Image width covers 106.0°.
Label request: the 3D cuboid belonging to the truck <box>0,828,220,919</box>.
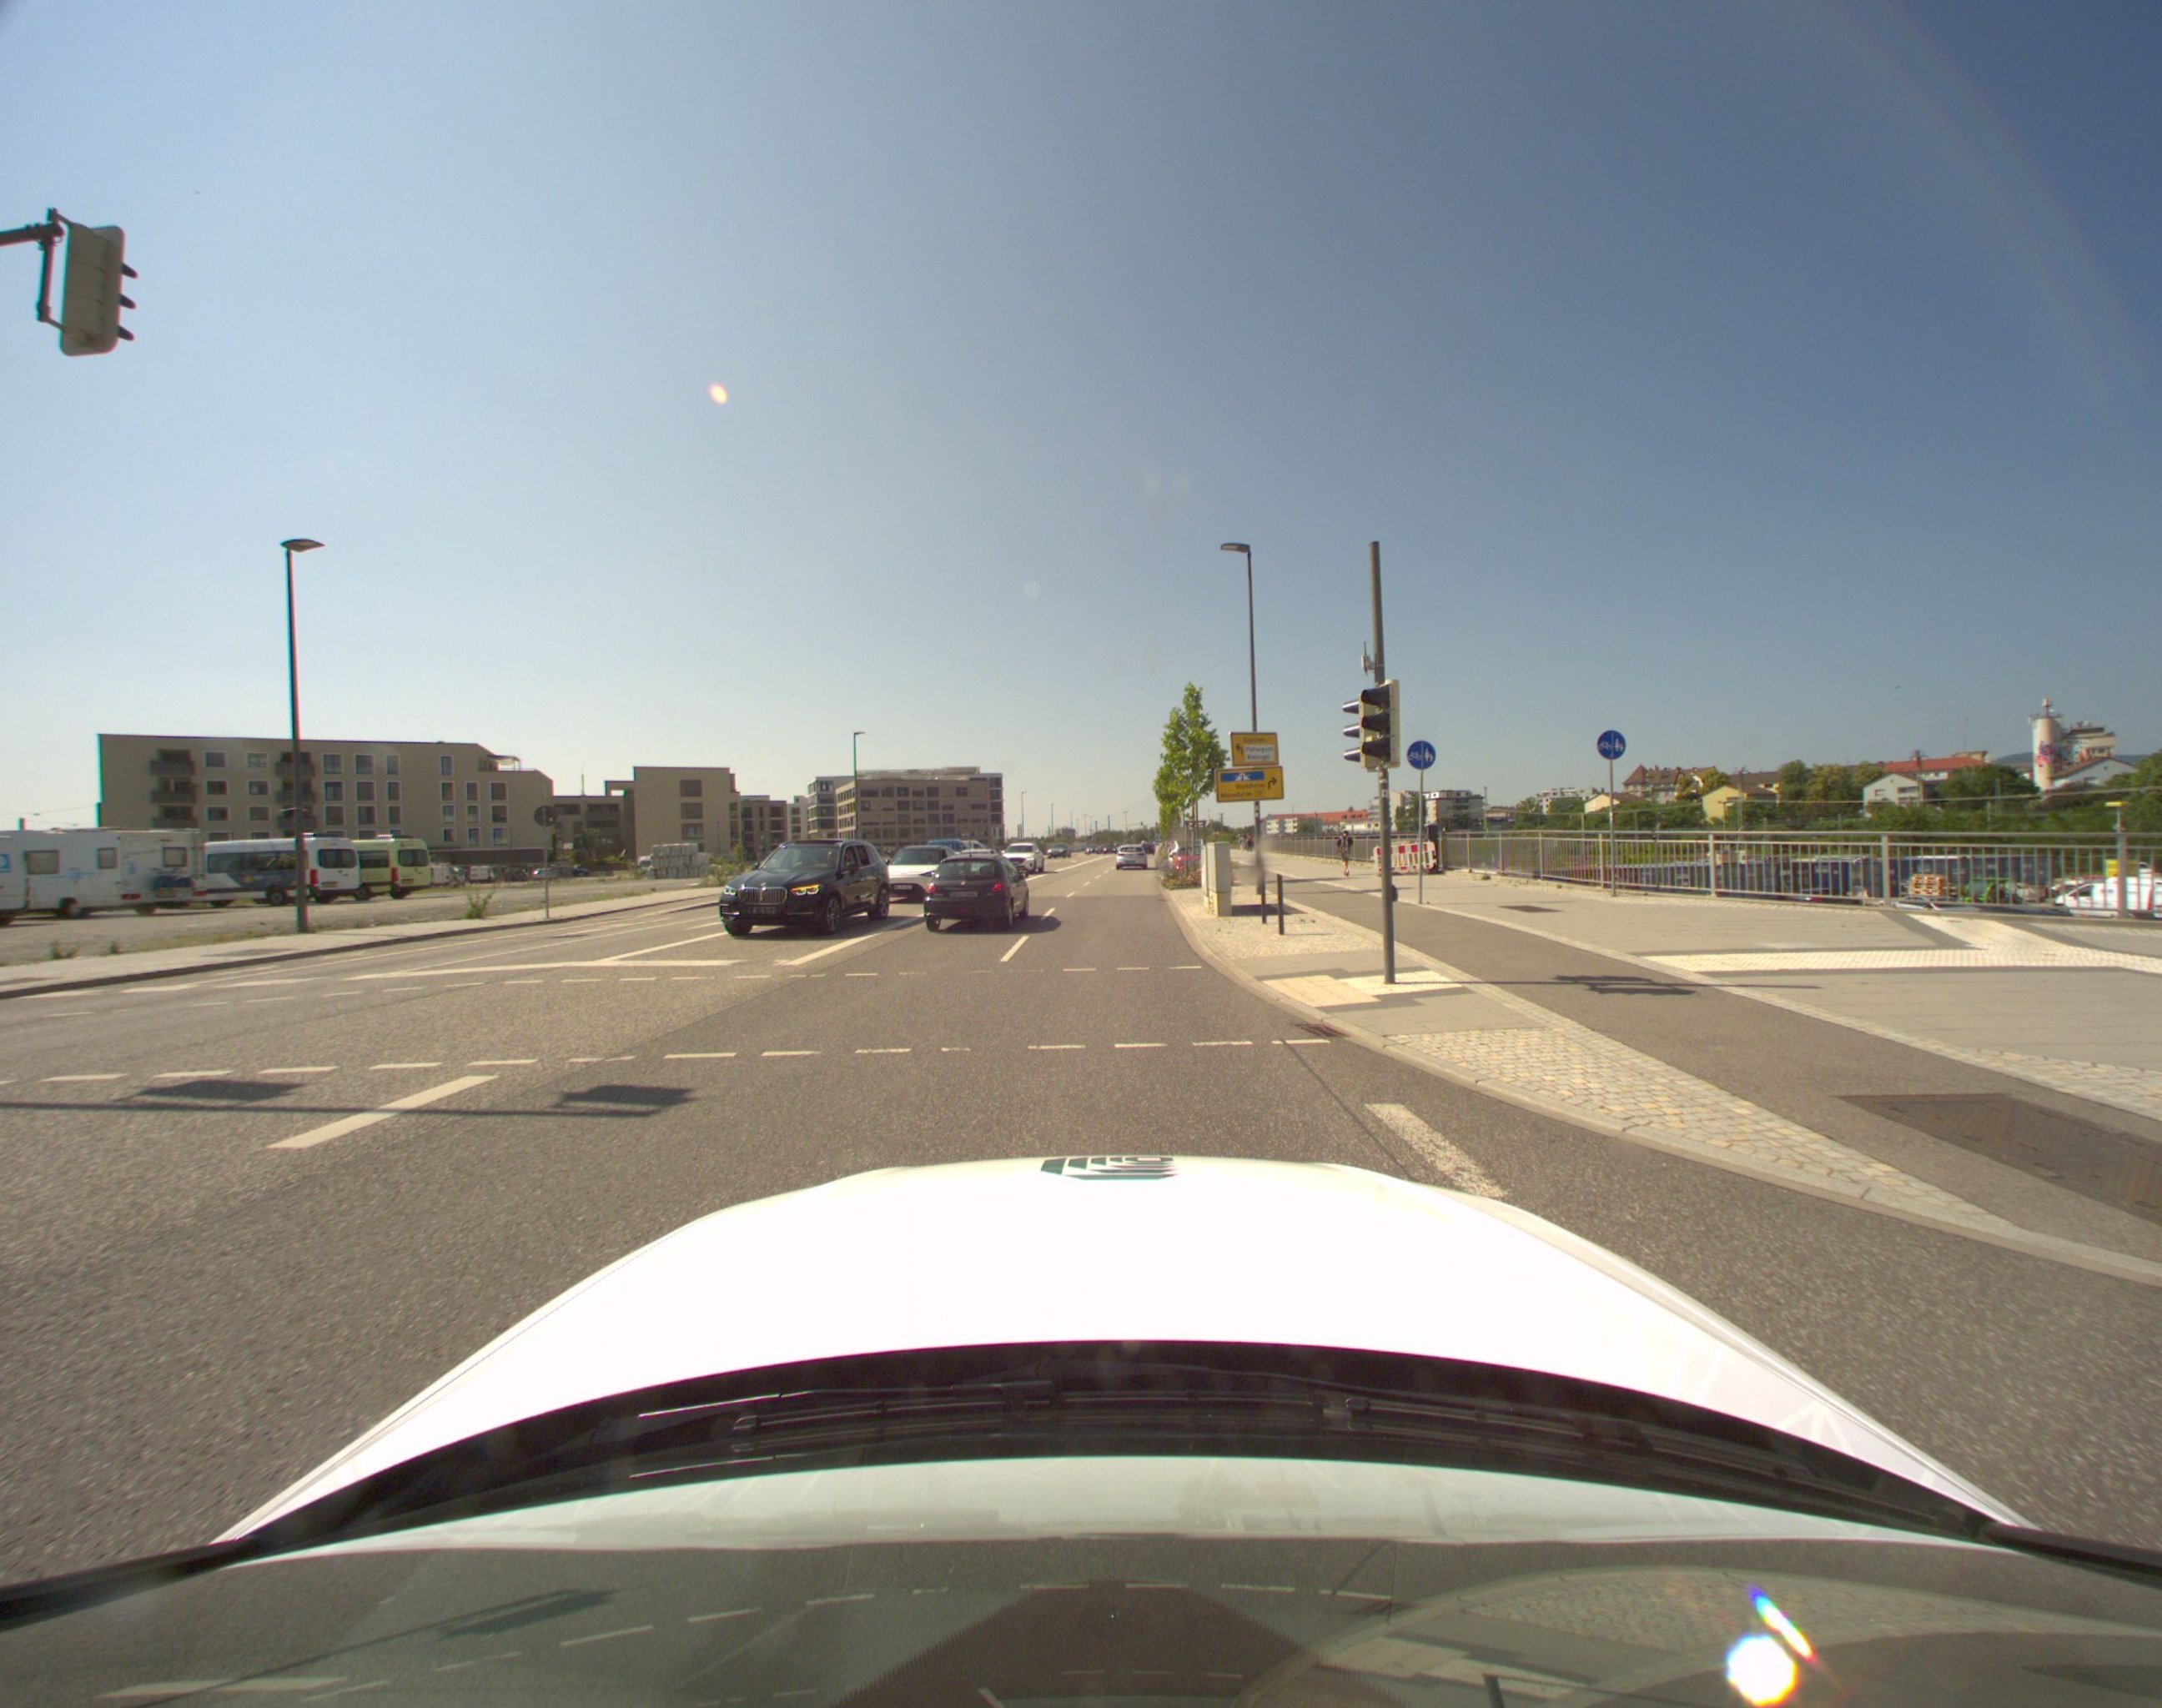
[{"bbox_3d":[-33.553,0.634,27.712,6.114,2.901,2.575,0,-1,6],"label":"truck"}]

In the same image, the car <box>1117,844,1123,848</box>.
[{"bbox_3d":[11.487,-2.360,239.842,1.695,1.352,4.463,-2,0,5],"label":"car"}]

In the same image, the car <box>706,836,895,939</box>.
[{"bbox_3d":[-5.401,0.528,16.462,1.931,1.788,4.661,0,1,4],"label":"car"}]

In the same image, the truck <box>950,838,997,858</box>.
[{"bbox_3d":[-13.927,-0.836,105.924,5.542,2.362,2.278,-2,1,3],"label":"truck"}]

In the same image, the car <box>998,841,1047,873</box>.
[{"bbox_3d":[-3.115,0.106,44.375,1.904,1.649,4.738,0,1,6],"label":"car"}]

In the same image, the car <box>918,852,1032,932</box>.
[{"bbox_3d":[-2.035,0.682,16.631,1.612,1.416,3.730,-1,0,3],"label":"car"}]

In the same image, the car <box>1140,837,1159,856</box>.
[{"bbox_3d":[6.907,-0.730,81.394,1.784,1.750,4.007,-1,0,6],"label":"car"}]

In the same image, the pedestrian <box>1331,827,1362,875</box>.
[{"bbox_3d":[9.373,-0.115,28.770,0.747,1.609,0.950,-4,0,5],"label":"pedestrian"}]

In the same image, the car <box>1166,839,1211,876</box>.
[{"bbox_3d":[5.050,0.136,38.797,1.863,1.627,4.883,-1,0,5],"label":"car"}]

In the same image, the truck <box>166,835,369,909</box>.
[{"bbox_3d":[-32.402,0.708,32.557,5.805,2.824,2.575,0,-1,6],"label":"truck"}]

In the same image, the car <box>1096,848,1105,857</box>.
[{"bbox_3d":[3.471,-0.192,146.639,1.573,1.563,3.675,0,0,2],"label":"car"}]

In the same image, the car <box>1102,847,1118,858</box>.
[{"bbox_3d":[4.082,-0.180,113.650,1.778,1.398,4.581,-1,1,7],"label":"car"}]

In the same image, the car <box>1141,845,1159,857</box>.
[{"bbox_3d":[8.013,-0.311,94.995,1.628,1.310,3.996,-1,0,-3],"label":"car"}]

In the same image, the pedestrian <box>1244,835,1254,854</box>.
[{"bbox_3d":[14.748,-0.832,71.500,0.728,1.705,0.652,0,-1,6],"label":"pedestrian"}]

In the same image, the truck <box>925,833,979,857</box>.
[{"bbox_3d":[-15.576,-1.094,98.744,5.979,2.543,2.277,-2,1,3],"label":"truck"}]

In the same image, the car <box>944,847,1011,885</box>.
[{"bbox_3d":[-4.114,0.444,33.088,1.777,1.421,4.289,-1,0,6],"label":"car"}]

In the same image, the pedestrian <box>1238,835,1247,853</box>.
[{"bbox_3d":[16.003,-0.982,80.528,0.777,1.705,0.743,-1,0,6],"label":"pedestrian"}]

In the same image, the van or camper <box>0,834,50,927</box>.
[{"bbox_3d":[-33.437,0.807,23.433,4.876,2.661,2.263,-1,1,5],"label":"van or camper"}]

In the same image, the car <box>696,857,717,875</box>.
[{"bbox_3d":[-42.425,1.352,92.319,2.003,1.848,3.969,-1,1,-24],"label":"car"}]

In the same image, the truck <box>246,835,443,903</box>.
[{"bbox_3d":[-32.385,0.642,35.946,6.603,2.825,2.607,-1,0,5],"label":"truck"}]

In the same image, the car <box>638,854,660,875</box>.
[{"bbox_3d":[-48.061,1.142,90.506,2.006,2.240,3.962,-1,1,-30],"label":"car"}]

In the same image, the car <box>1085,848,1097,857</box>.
[{"bbox_3d":[1.500,-0.232,122.560,1.787,1.416,4.001,0,0,2],"label":"car"}]

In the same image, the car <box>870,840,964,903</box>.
[{"bbox_3d":[-4.844,0.460,24.639,1.771,1.682,4.103,-1,1,3],"label":"car"}]

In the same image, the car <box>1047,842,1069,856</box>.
[{"bbox_3d":[-2.414,-0.490,85.385,1.884,1.415,3.603,0,0,5],"label":"car"}]

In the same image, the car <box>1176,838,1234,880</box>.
[{"bbox_3d":[4.776,0.158,31.848,1.984,1.519,4.007,-1,1,5],"label":"car"}]

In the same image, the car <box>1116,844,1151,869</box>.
[{"bbox_3d":[3.182,0.126,48.615,1.768,1.442,4.009,-1,0,8],"label":"car"}]

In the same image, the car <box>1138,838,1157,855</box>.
[{"bbox_3d":[6.648,-0.706,81.082,1.768,1.569,4.008,0,0,7],"label":"car"}]
